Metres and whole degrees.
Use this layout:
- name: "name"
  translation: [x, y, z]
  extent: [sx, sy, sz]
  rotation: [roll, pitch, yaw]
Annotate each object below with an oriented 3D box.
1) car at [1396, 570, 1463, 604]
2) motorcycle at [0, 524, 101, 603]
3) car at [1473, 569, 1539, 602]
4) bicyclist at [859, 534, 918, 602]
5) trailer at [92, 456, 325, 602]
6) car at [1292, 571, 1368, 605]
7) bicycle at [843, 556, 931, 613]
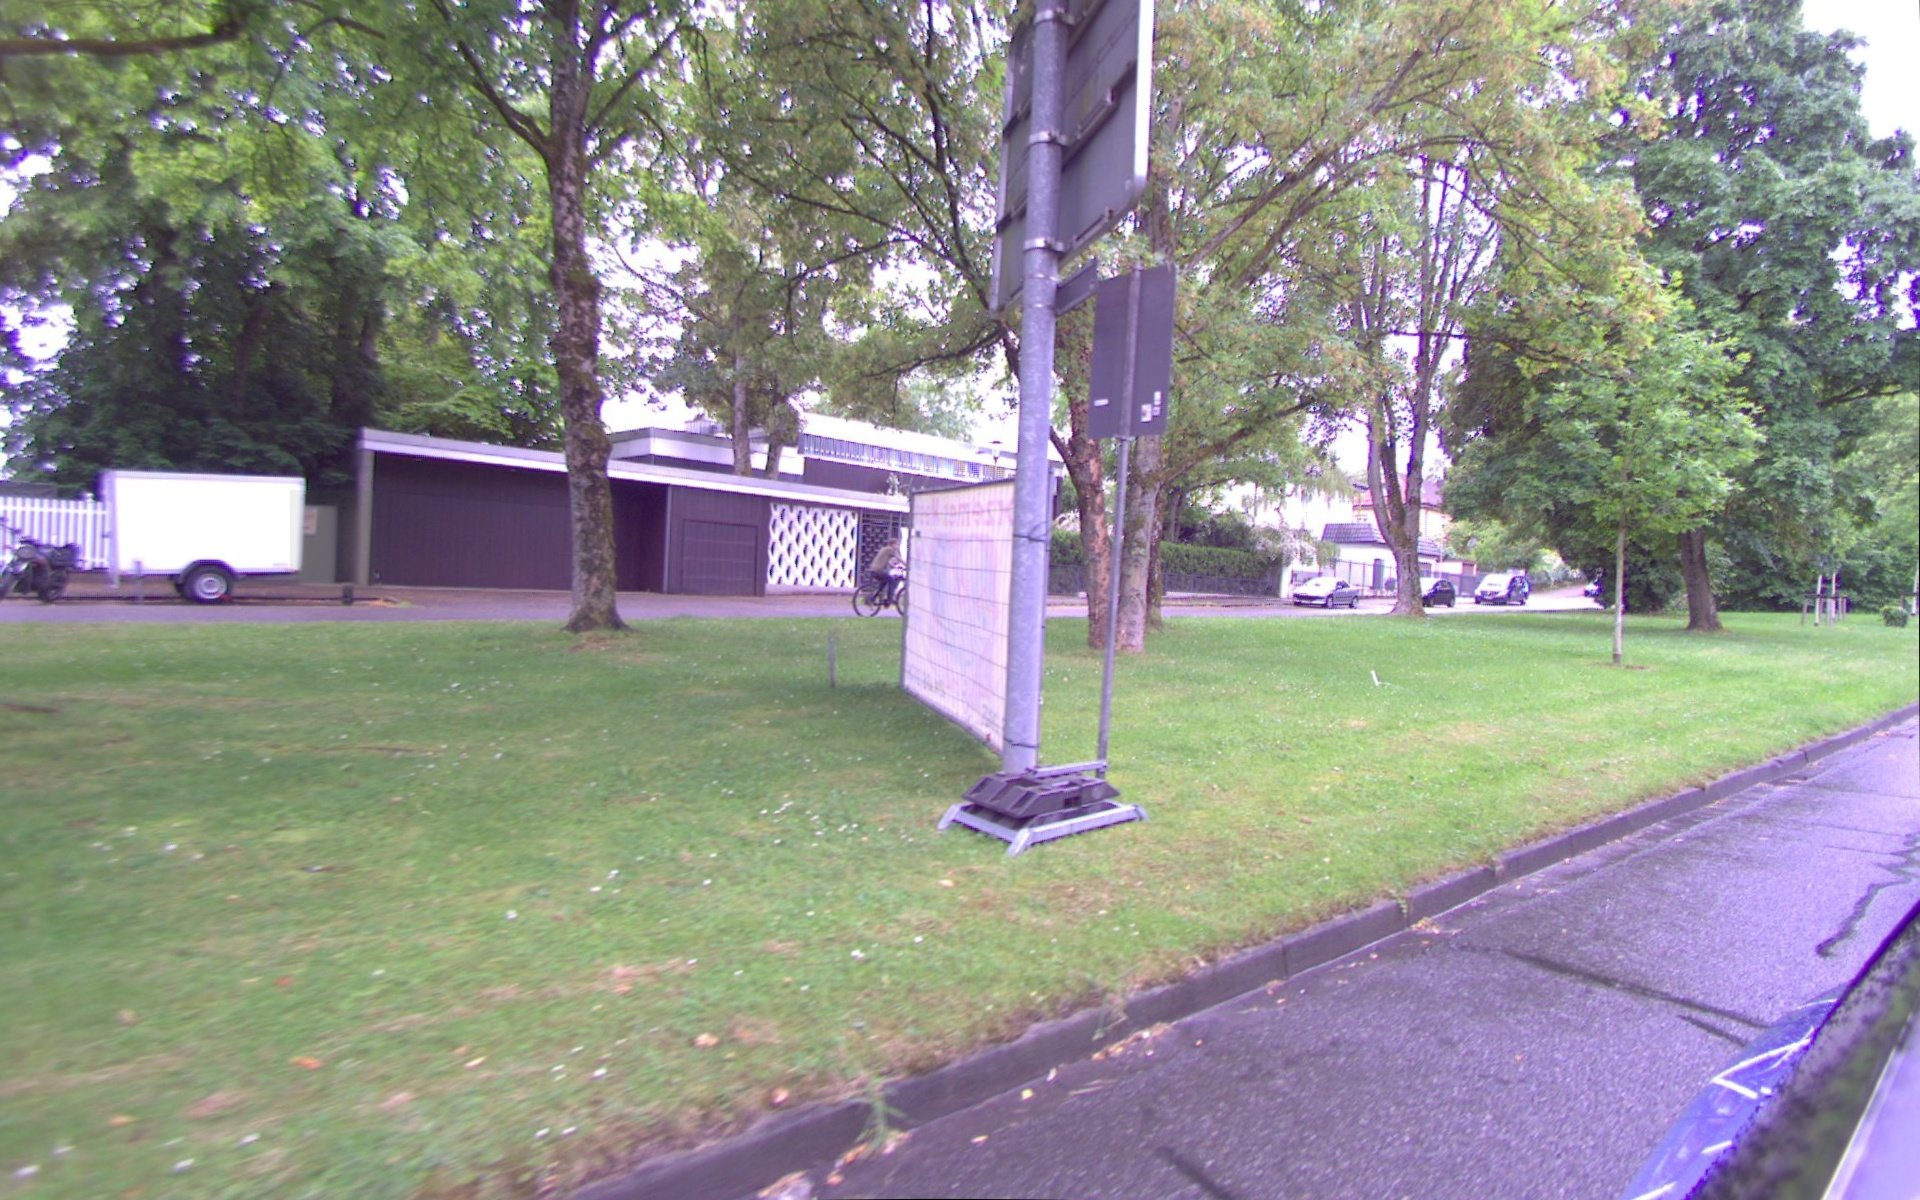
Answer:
- name: "car"
  translation: [25.018, -0.725, 53.839]
  extent: [3.969, 1.644, 1.904]
  rotation: [-2, 4, -44]
- name: "motorcycle"
  translation: [-13.751, -0.550, 15.203]
  extent: [0.645, 1.106, 1.896]
  rotation: [2, 1, -21]
- name: "car"
  translation: [33.847, -0.930, 62.703]
  extent: [4.986, 1.901, 2.162]
  rotation: [-2, 4, -44]
- name: "bicyclist"
  translation: [-1.502, -0.672, 21.336]
  extent: [0.982, 1.408, 0.746]
  rotation: [0, 2, -40]
- name: "trailer"
  translation: [-12.354, -1.103, 16.713]
  extent: [1.437, 2.181, 2.903]
  rotation: [4, 3, 44]
- name: "car"
  translation: [16.667, -0.567, 45.514]
  extent: [3.648, 1.392, 1.684]
  rotation: [-1, 5, -43]
- name: "bicycle"
  translation: [-1.524, -0.323, 21.338]
  extent: [1.830, 1.152, 0.597]
  rotation: [0, 2, -41]
